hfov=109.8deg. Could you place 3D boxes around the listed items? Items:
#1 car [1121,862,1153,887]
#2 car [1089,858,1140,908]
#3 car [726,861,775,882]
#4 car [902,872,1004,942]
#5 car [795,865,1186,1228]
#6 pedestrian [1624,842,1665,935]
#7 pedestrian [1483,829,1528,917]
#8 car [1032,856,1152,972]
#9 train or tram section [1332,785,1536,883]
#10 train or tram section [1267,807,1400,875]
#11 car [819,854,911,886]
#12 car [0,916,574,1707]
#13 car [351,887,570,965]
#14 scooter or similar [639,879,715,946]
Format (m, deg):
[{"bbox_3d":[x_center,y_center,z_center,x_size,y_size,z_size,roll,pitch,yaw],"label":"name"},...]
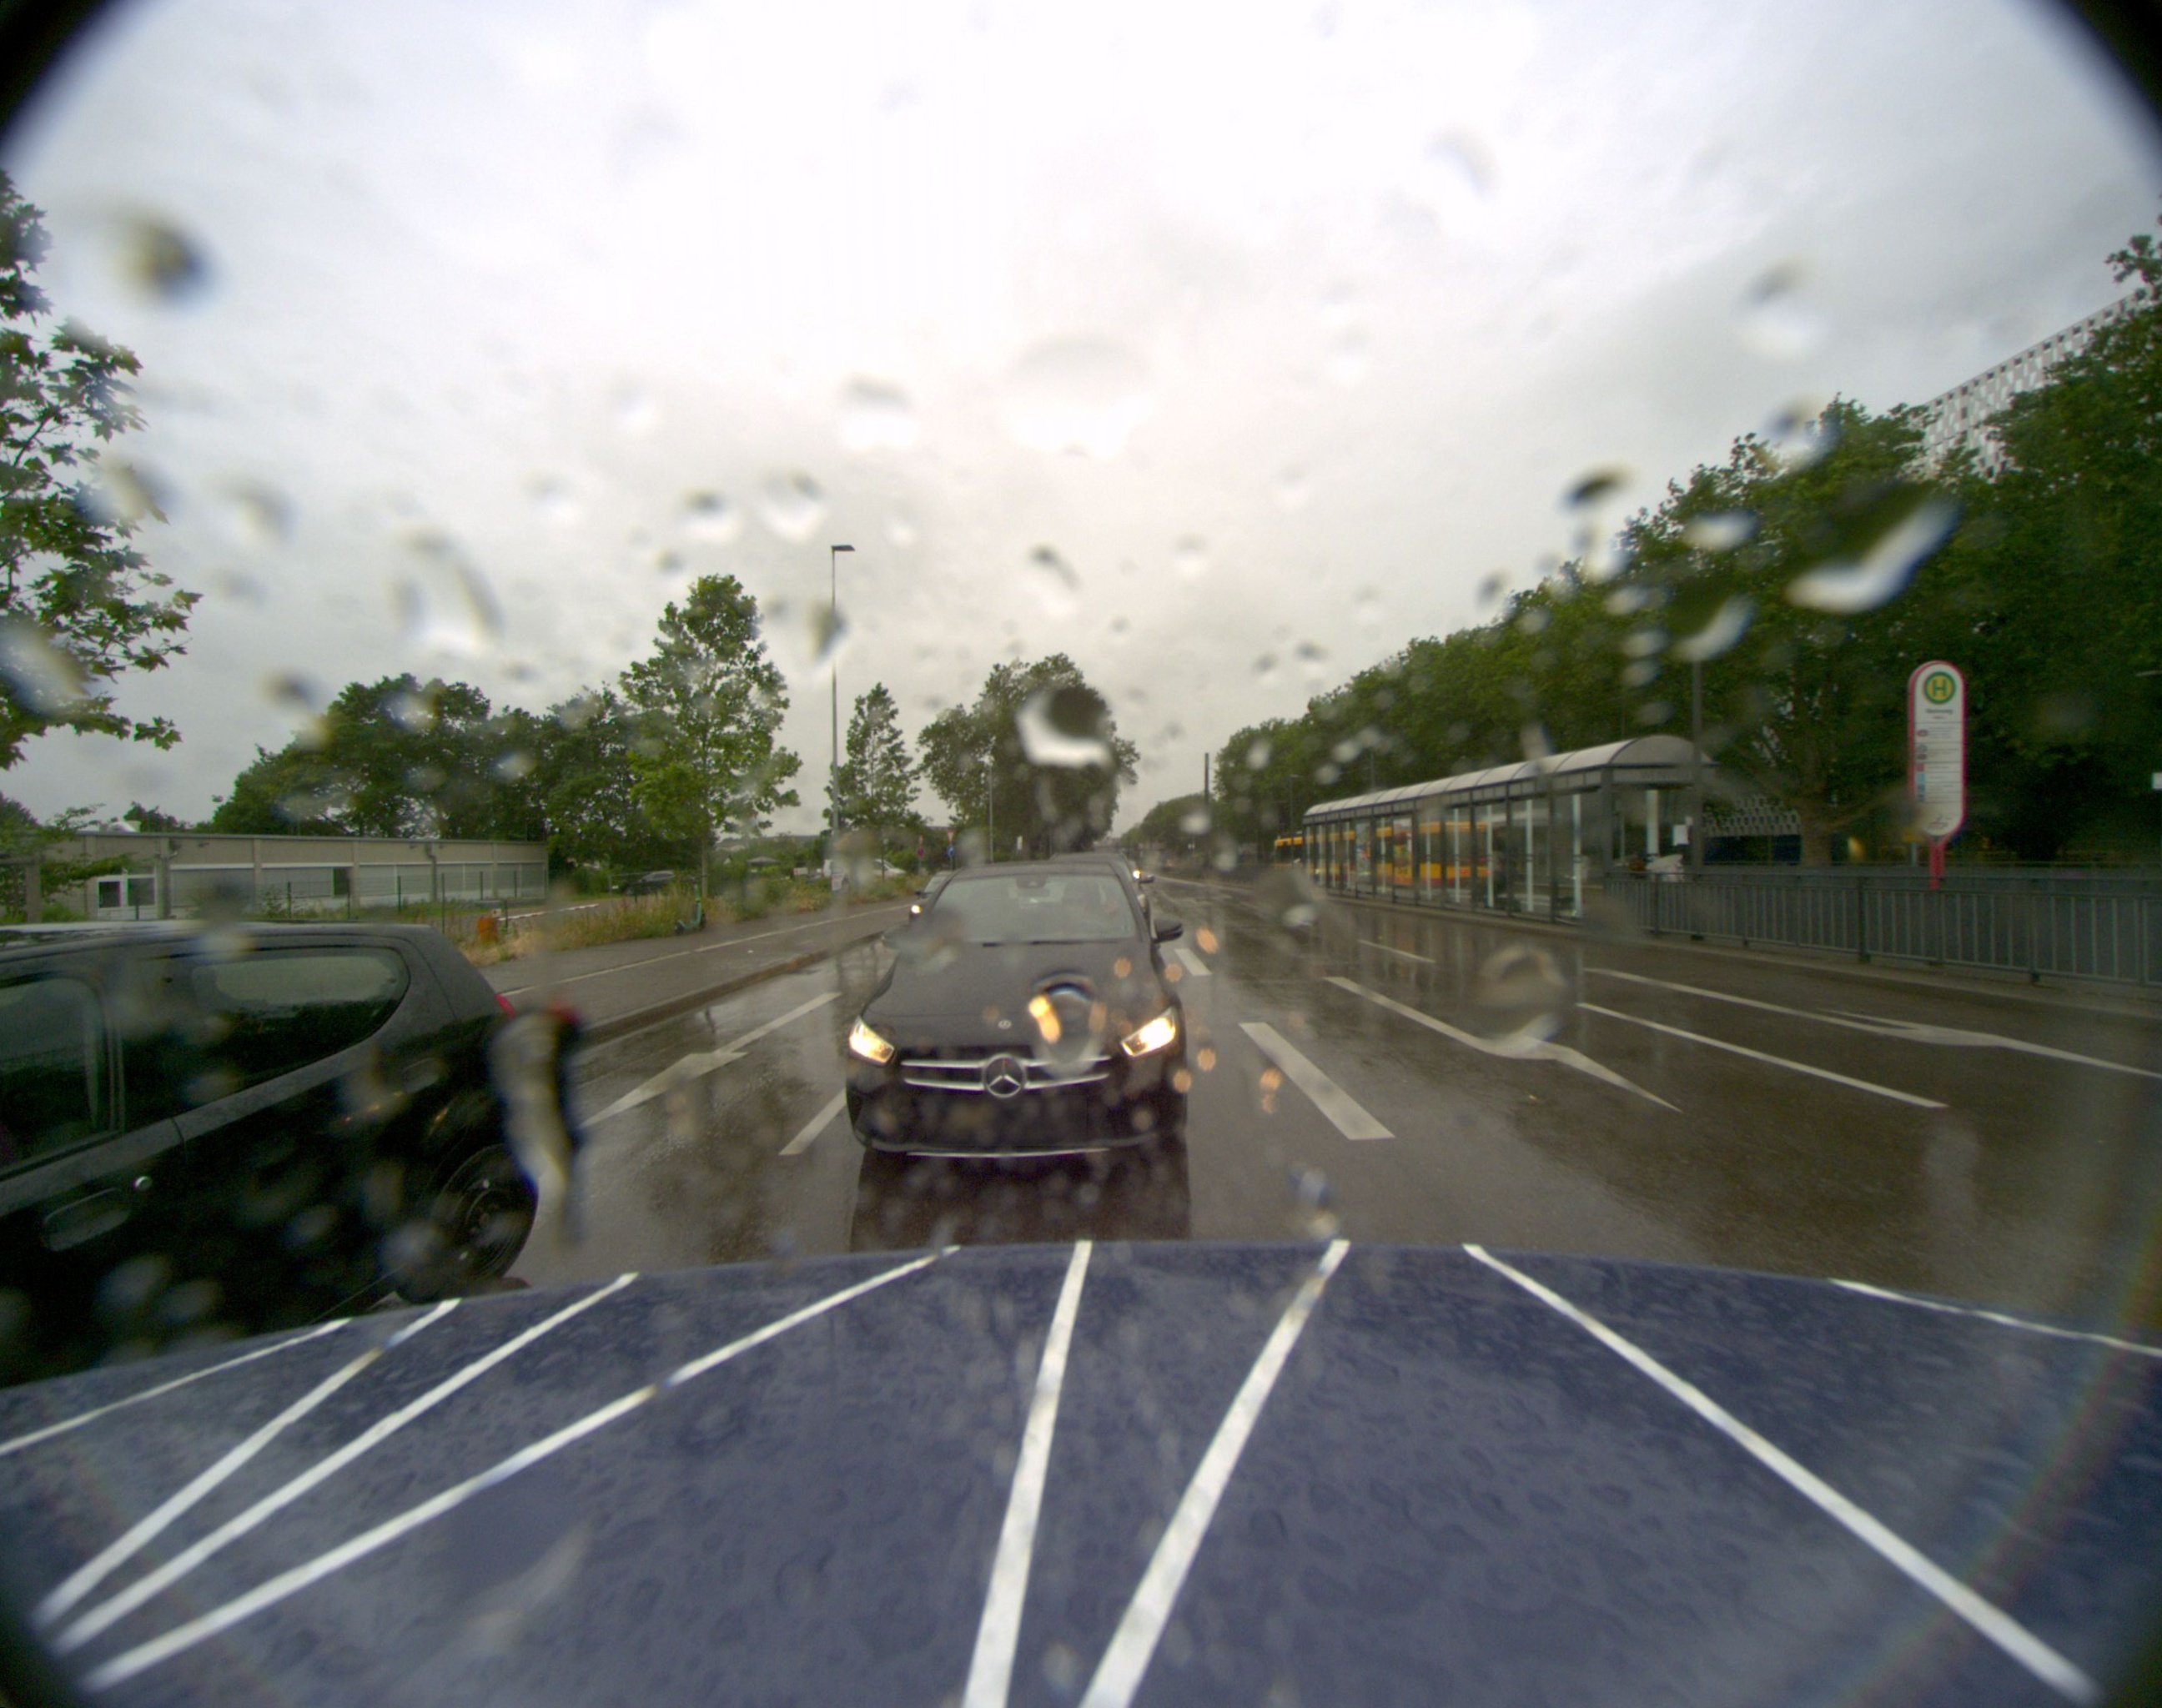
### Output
[{"bbox_3d":[3.236,1.151,44.381,1.557,1.301,3.717,-3,0,1],"label":"car"},{"bbox_3d":[1.136,0.972,27.018,1.557,1.541,3.717,-3,0,0],"label":"car"},{"bbox_3d":[-28.247,1.474,65.026,3.552,1.574,1.345,-3,1,6],"label":"car"},{"bbox_3d":[-2.862,1.154,17.677,1.617,1.301,3.717,-3,0,1],"label":"car"},{"bbox_3d":[-0.206,0.912,5.528,1.758,1.572,4.171,-2,0,6],"label":"car"},{"bbox_3d":[9.189,0.556,12.395,0.321,1.485,0.415,-3,2,6],"label":"pedestrian"},{"bbox_3d":[9.286,0.409,16.649,0.655,1.860,0.773,-2,1,17],"label":"pedestrian"},{"bbox_3d":[0.219,0.861,12.798,1.689,1.611,4.000,-1,0,2],"label":"car"},{"bbox_3d":[16.552,-0.843,37.540,3.751,3.817,13.253,-3,0,0],"label":"train or tram section"},{"bbox_3d":[16.581,-0.796,51.972,3.751,3.777,15.569,-3,0,0],"label":"train or tram section"},{"bbox_3d":[-13.578,1.002,48.078,5.174,1.715,2.006,-3,1,-1],"label":"car"},{"bbox_3d":[-2.979,1.030,1.426,1.557,1.500,3.618,-2,0,1],"label":"car"},{"bbox_3d":[-12.032,1.378,14.834,3.243,1.281,1.345,-3,1,6],"label":"car"},{"bbox_3d":[-8.194,1.158,15.495,0.367,1.192,1.913,-2,1,4],"label":"scooter or similar"}]
